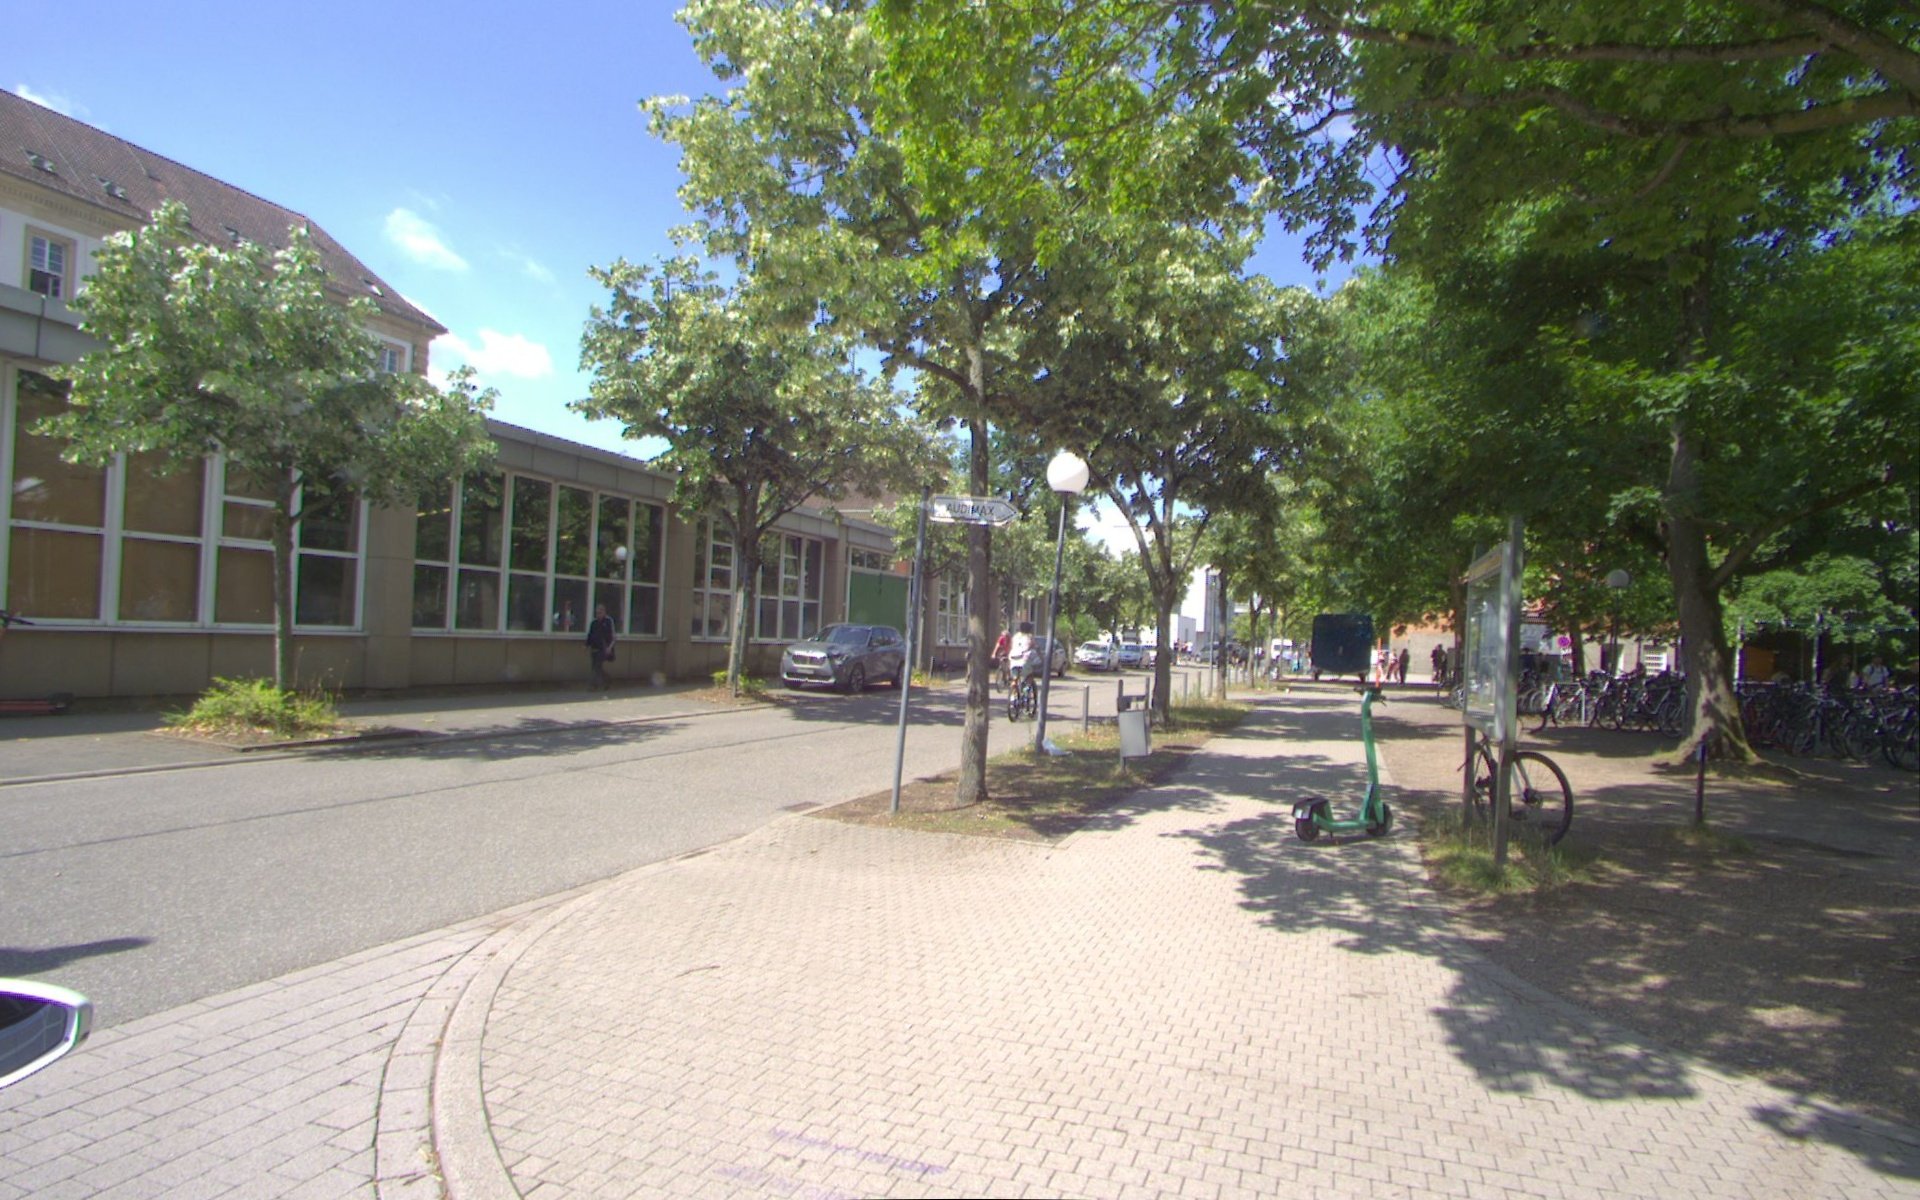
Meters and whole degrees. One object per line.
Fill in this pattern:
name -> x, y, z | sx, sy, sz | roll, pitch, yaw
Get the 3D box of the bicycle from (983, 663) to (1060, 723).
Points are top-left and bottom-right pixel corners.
bicycle -> 1.237, 1.780, 19.540 | 0.797, 1.015, 2.119 | 4, -1, 22

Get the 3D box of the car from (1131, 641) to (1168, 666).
car -> 12.128, 3.412, 63.959 | 1.638, 1.429, 3.801 | 4, -1, 21

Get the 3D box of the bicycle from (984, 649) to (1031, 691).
bicycle -> 1.376, 1.987, 28.364 | 0.804, 1.054, 1.932 | 3, -5, 18

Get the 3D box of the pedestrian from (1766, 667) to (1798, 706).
pedestrian -> 29.703, 3.104, 36.193 | 0.656, 1.364, 0.718 | -1, -1, 17

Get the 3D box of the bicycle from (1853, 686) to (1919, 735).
bicycle -> 20.104, 2.356, 21.388 | 1.869, 0.991, 0.536 | 2, -2, -13

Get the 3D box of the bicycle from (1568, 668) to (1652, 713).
bicycle -> 17.620, 2.461, 27.168 | 1.867, 1.132, 0.613 | 2, -2, 0

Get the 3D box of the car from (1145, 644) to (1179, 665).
car -> 14.134, 3.787, 69.910 | 1.622, 1.317, 3.920 | 2, -2, 22

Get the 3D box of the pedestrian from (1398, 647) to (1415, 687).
pedestrian -> 18.321, 2.749, 41.087 | 0.560, 1.590, 0.926 | 1, -4, 21

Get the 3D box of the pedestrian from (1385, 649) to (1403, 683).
pedestrian -> 21.997, 3.330, 50.738 | 0.754, 1.682, 0.823 | 1, -2, 22

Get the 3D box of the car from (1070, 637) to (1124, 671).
car -> 6.939, 2.710, 50.349 | 1.700, 1.475, 4.578 | 4, -1, 19

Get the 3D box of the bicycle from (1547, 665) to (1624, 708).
bicycle -> 17.690, 2.440, 28.329 | 1.774, 1.132, 0.613 | 2, -2, 0

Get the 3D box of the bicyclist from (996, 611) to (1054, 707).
bicyclist -> 1.277, 1.143, 19.544 | 0.760, 1.778, 0.847 | 5, 0, 22

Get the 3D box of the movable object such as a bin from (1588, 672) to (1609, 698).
movable object such as a bin -> 27.266, 3.623, 42.742 | 0.591, 1.084, 0.741 | 2, -3, 22

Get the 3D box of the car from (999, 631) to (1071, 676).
car -> 3.045, 2.121, 39.911 | 1.731, 1.576, 4.108 | 4, -1, 19

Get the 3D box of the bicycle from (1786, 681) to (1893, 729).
bicycle -> 19.704, 2.342, 22.450 | 1.867, 0.991, 0.613 | 2, -2, 0

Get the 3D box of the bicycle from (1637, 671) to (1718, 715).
bicycle -> 19.914, 2.580, 27.818 | 1.867, 1.158, 0.479 | 2, -1, 2

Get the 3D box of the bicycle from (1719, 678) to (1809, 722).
bicycle -> 19.645, 2.430, 24.487 | 1.867, 0.991, 0.422 | 2, -2, 0

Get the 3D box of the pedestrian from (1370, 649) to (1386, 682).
pedestrian -> 21.276, 3.329, 50.998 | 0.687, 1.682, 0.787 | 1, -2, 22

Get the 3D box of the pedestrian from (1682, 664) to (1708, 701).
pedestrian -> 27.991, 3.127, 38.125 | 0.561, 1.364, 0.728 | -1, -1, 17

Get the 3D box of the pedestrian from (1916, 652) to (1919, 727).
pedestrian -> 23.238, 2.145, 23.578 | 0.731, 1.798, 0.720 | 2, 0, 14

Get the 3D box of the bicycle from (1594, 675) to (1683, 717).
bicycle -> 17.570, 2.482, 25.952 | 1.867, 0.991, 0.613 | 2, -2, 0

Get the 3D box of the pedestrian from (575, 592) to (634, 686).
pedestrian -> -7.205, 0.788, 20.288 | 0.777, 1.810, 0.669 | 4, 0, 22

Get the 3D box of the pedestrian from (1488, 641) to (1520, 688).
pedestrian -> 23.258, 2.741, 42.827 | 0.819, 1.974, 1.079 | 1, -1, 1

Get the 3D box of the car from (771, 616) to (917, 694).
car -> -2.785, 1.368, 25.209 | 1.795, 1.653, 4.512 | 4, -1, 19

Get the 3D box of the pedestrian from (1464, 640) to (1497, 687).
pedestrian -> 22.268, 2.720, 42.852 | 0.819, 1.974, 1.079 | 1, -1, 1

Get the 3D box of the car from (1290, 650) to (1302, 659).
car -> 63.881, 10.338, 190.485 | 1.772, 1.549, 3.990 | 2, -2, 25

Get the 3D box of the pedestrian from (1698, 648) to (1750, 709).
pedestrian -> 23.865, 2.435, 31.308 | 0.943, 1.798, 0.919 | 2, 0, 14

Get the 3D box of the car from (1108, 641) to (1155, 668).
car -> 9.991, 3.148, 58.197 | 1.701, 1.361, 4.157 | 4, -1, 23

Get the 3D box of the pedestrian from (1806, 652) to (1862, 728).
pedestrian -> 21.461, 2.193, 24.606 | 0.731, 1.798, 0.720 | 2, 0, 14

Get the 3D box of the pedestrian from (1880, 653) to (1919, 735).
pedestrian -> 21.542, 2.120, 22.673 | 0.731, 1.798, 0.720 | 2, 0, -10

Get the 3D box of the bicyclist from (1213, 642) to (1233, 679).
bicyclist -> 13.102, 3.001, 49.822 | 0.797, 1.778, 0.691 | 3, -1, 22

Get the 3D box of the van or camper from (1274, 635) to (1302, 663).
van or camper -> 30.572, 4.581, 93.227 | 1.967, 2.476, 4.560 | 2, -3, 24

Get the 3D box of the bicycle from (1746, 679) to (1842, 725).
bicycle -> 19.496, 2.376, 23.414 | 1.867, 0.991, 0.479 | 2, -2, -1

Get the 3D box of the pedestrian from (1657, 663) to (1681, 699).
pedestrian -> 27.650, 3.164, 39.062 | 0.561, 1.364, 0.728 | -1, -1, 17

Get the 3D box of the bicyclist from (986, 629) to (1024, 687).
bicyclist -> 1.276, 1.626, 28.238 | 0.823, 1.563, 0.958 | 1, -2, 18

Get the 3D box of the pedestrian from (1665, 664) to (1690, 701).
pedestrian -> 27.444, 3.136, 38.292 | 0.561, 1.364, 0.728 | -1, -1, 17

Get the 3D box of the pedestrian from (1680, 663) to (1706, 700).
pedestrian -> 28.411, 3.151, 38.813 | 0.561, 1.364, 0.728 | -1, -1, 17

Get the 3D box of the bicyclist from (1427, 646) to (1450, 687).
bicyclist -> 20.820, 2.881, 43.590 | 0.521, 1.751, 1.079 | 1, -1, 1

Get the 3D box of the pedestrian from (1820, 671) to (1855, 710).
pedestrian -> 30.041, 3.088, 34.290 | 0.656, 1.287, 0.621 | -1, -1, 17

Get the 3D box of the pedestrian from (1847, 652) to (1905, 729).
pedestrian -> 22.287, 2.180, 24.372 | 0.731, 1.798, 0.720 | 2, 0, 14
